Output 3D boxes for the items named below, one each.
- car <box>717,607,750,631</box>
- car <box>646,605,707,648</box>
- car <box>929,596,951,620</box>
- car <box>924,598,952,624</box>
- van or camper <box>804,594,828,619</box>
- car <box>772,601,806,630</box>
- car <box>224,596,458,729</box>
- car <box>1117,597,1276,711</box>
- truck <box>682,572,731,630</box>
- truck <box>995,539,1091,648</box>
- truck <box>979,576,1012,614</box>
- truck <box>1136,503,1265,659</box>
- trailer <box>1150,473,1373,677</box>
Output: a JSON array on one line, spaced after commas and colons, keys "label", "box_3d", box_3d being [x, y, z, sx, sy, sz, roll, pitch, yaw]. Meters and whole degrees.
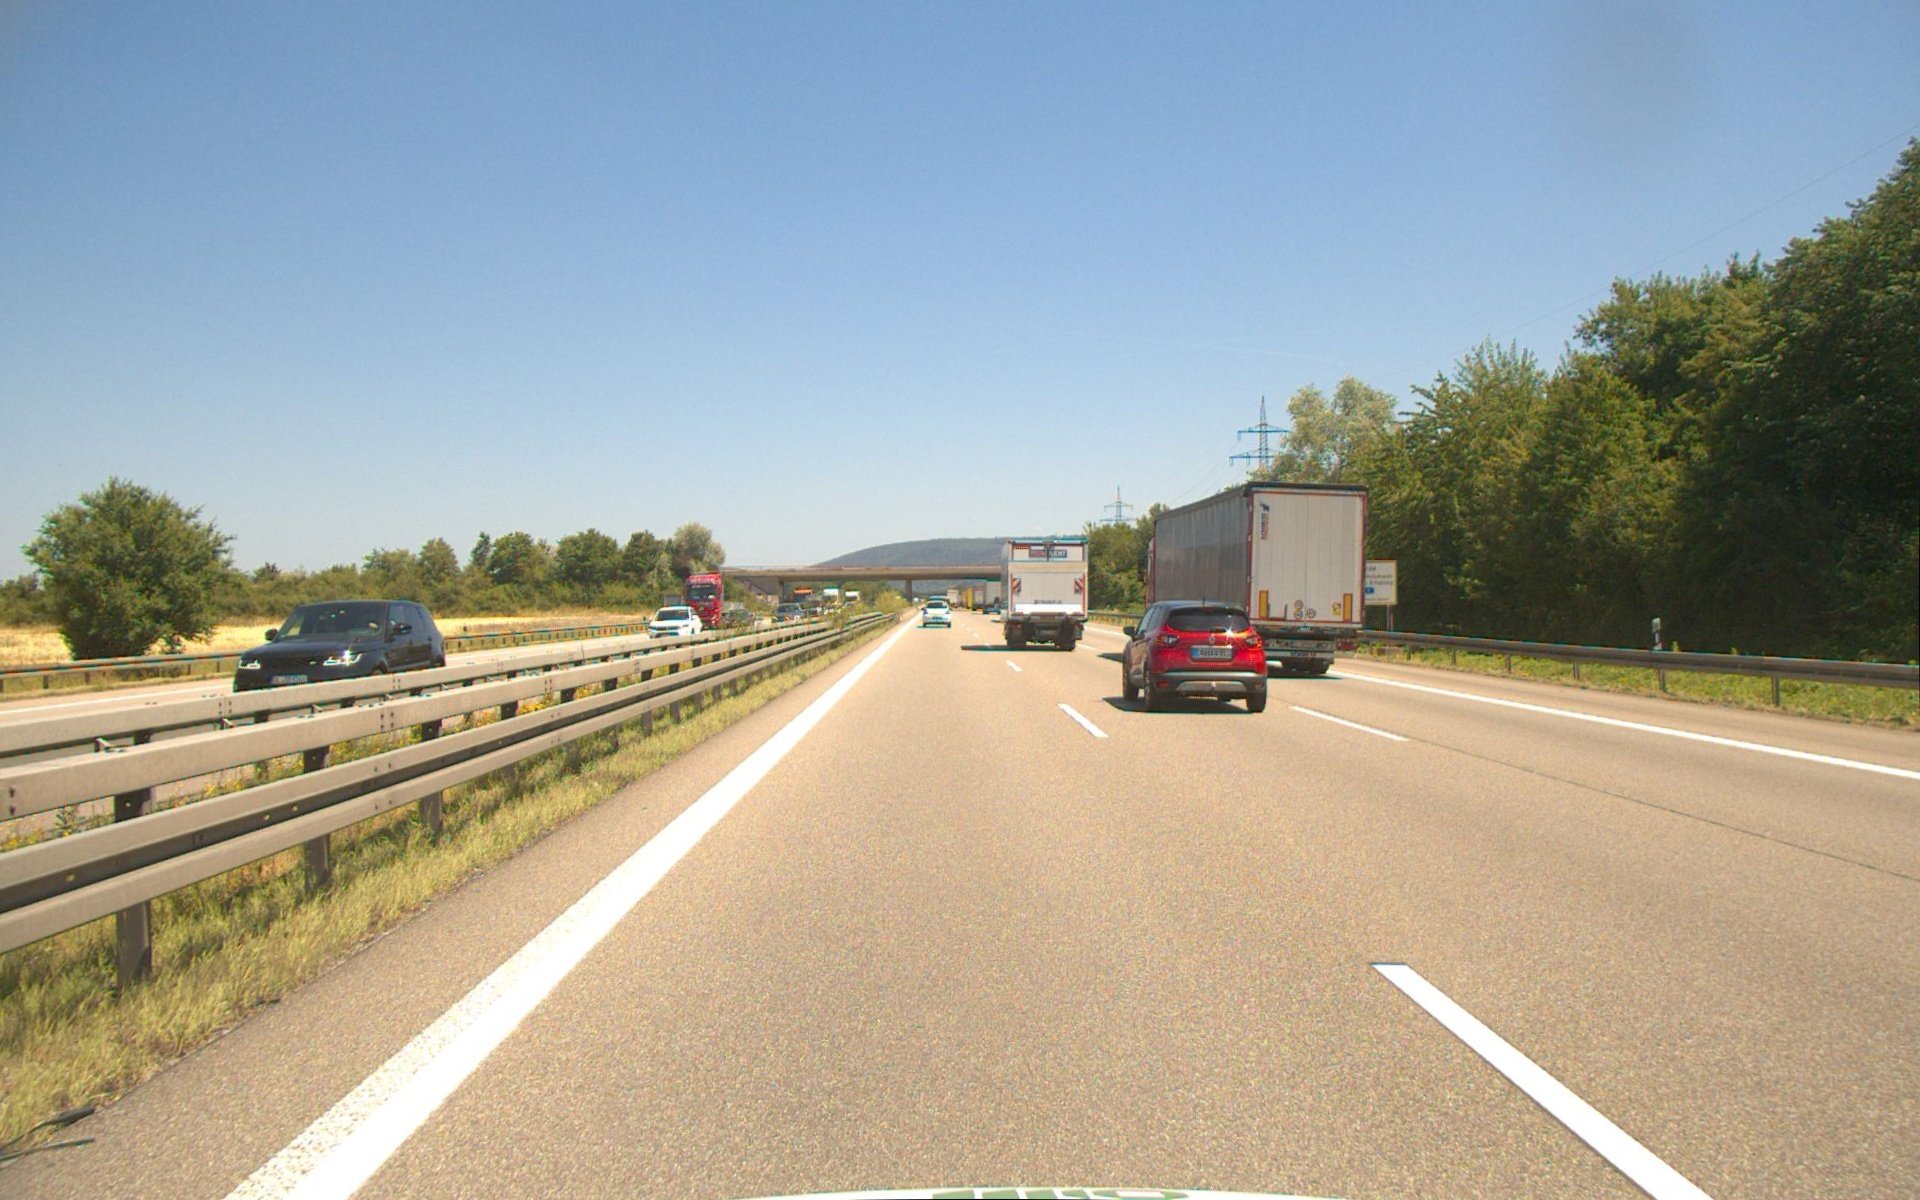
[{"label": "car", "box_3d": [-14.896, 1.263, 108.866, 1.698, 1.477, 3.676, -2, 0, -1]}, {"label": "car", "box_3d": [-11.199, 1.018, 65.528, 1.772, 1.563, 3.960, -2, 0, -1]}, {"label": "car", "box_3d": [-1.563, 0.630, 130.467, 1.725, 1.883, 4.000, -1, 0, 0]}, {"label": "car", "box_3d": [-1.272, 0.644, 97.643, 1.574, 1.493, 4.000, -1, 0, 0]}, {"label": "van or camper", "box_3d": [-15.558, 0.692, 179.201, 2.127, 2.633, 5.871, -3, 0, -2]}, {"label": "car", "box_3d": [-10.672, 0.963, 103.380, 1.772, 1.676, 3.960, -2, 0, -1]}, {"label": "car", "box_3d": [-9.279, 0.864, 25.218, 1.919, 1.803, 4.442, -1, 0, -1]}, {"label": "car", "box_3d": [3.475, 0.755, 24.932, 1.766, 1.572, 3.999, 0, 0, -1]}, {"label": "truck", "box_3d": [-18.864, 0.076, 123.216, 2.705, 4.084, 5.749, -2, 0, -2]}, {"label": "truck", "box_3d": [2.734, -0.197, 56.748, 2.726, 3.432, 8.125, 0, 0, -1]}, {"label": "truck", "box_3d": [4.332, -0.588, 204.483, 3.449, 4.493, 14.588, -1, 0, -1]}, {"label": "truck", "box_3d": [6.853, -0.522, 47.876, 2.738, 4.237, 5.720, 0, 0, -2]}, {"label": "trailer", "box_3d": [7.037, -0.517, 41.131, 2.732, 4.237, 13.570, 0, 0, -1]}]
